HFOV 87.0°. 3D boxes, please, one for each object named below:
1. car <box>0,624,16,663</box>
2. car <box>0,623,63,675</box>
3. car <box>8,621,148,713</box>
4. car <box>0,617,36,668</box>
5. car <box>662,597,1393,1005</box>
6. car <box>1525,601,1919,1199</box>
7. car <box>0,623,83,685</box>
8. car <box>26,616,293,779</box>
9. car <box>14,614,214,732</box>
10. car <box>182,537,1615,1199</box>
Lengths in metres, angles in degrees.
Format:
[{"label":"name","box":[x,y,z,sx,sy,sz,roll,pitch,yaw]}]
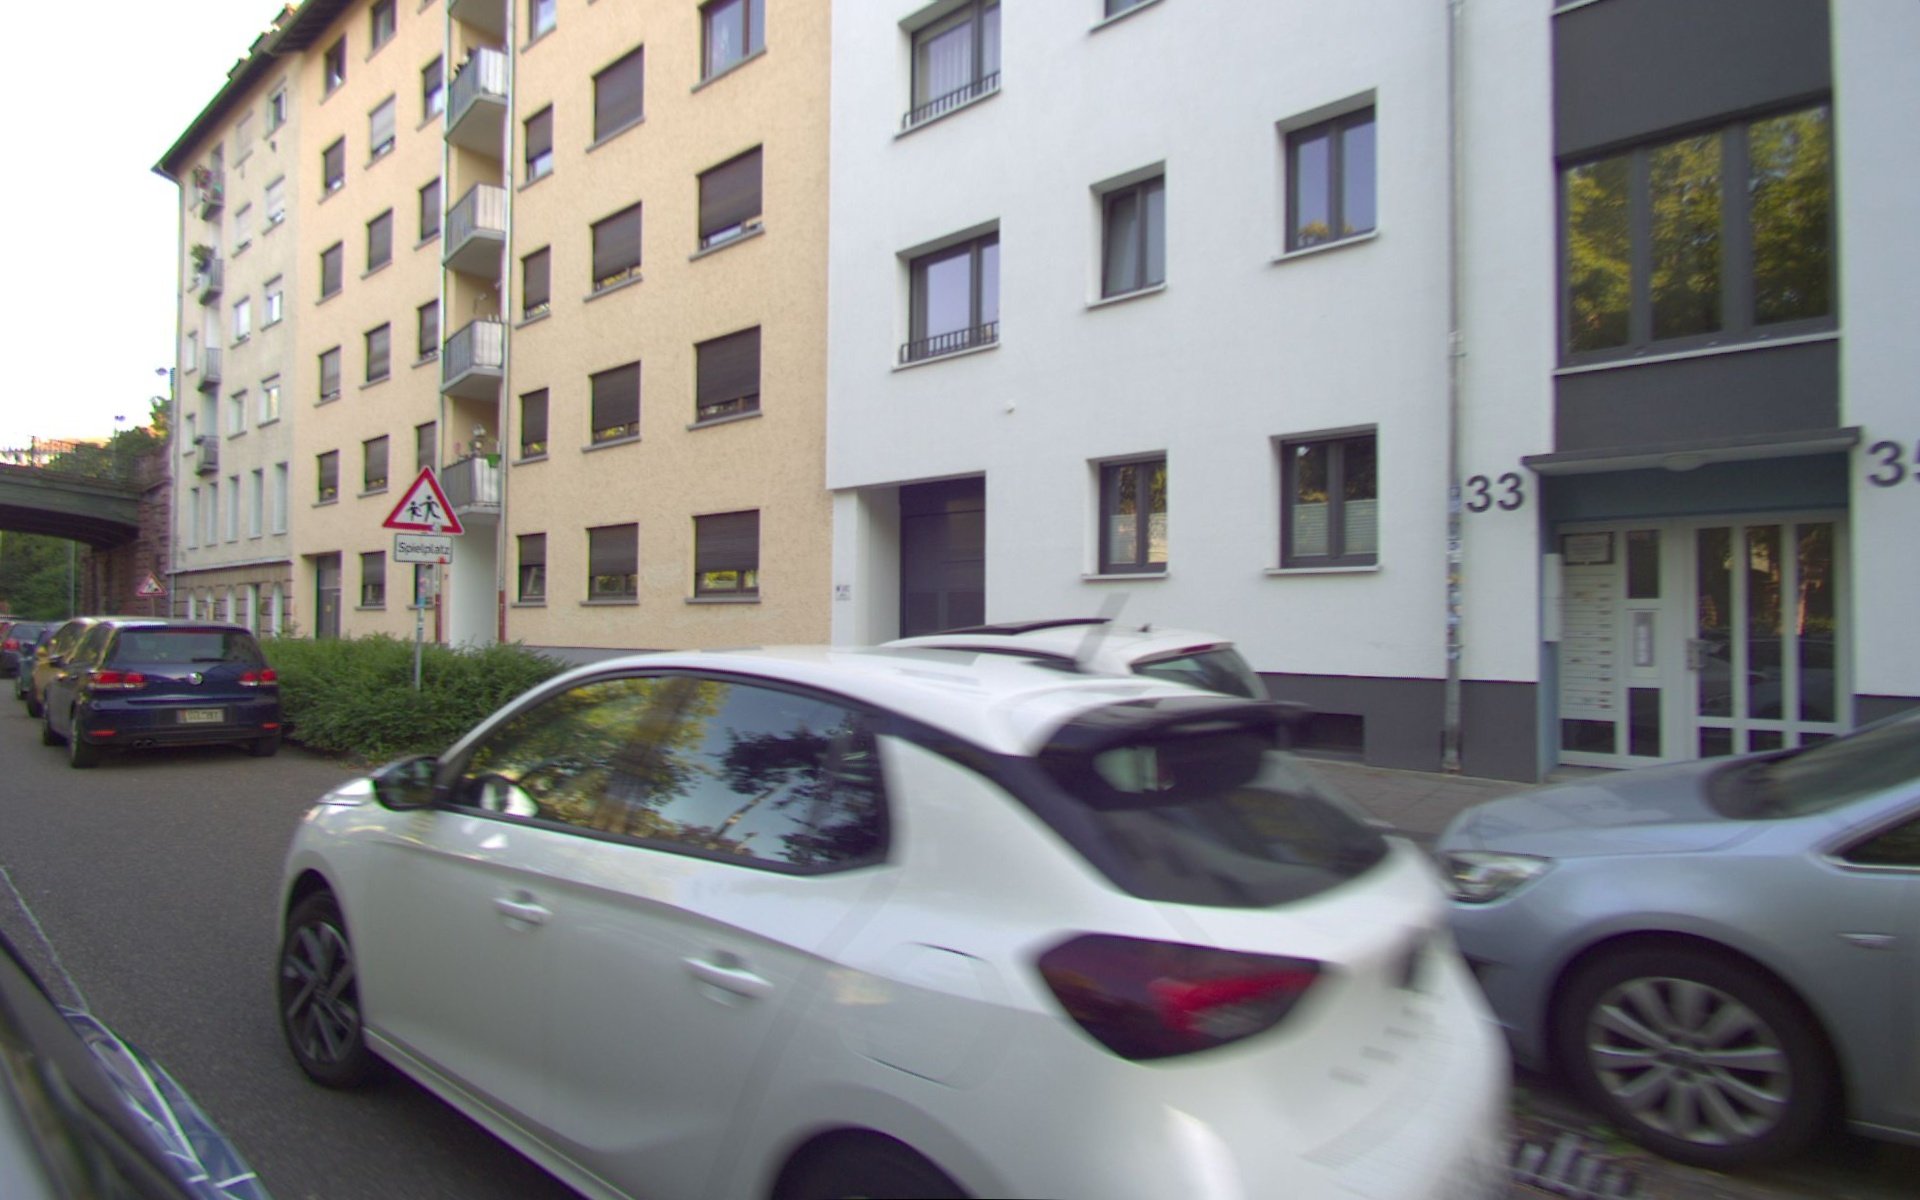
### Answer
[{"label":"car","box":[-37.897,1.642,39.112,3.999,1.475,1.698,-1,-3,42]},{"label":"car","box":[-28.431,1.437,30.464,3.999,1.452,1.671,-1,-2,42]},{"label":"car","box":[-16.353,1.162,18.706,3.782,1.529,1.549,-1,-3,43]},{"label":"car","box":[-34.019,1.451,35.525,4.319,1.721,1.699,-1,-3,40]},{"label":"car","box":[0.137,0.797,5.813,3.998,1.519,1.651,-1,1,41]},{"label":"car","box":[3.896,0.748,2.307,4.283,1.482,1.650,-1,1,42]},{"label":"car","box":[-24.618,1.395,26.744,3.999,1.478,1.619,-1,-5,42]},{"label":"car","box":[-9.041,0.966,11.313,4.000,1.490,1.720,-1,-3,43]},{"label":"car","box":[-12.615,0.995,15.016,3.772,1.537,1.685,-1,-3,41]},{"label":"car","box":[-0.528,0.768,2.951,3.992,1.442,1.653,-2,-6,36]}]
